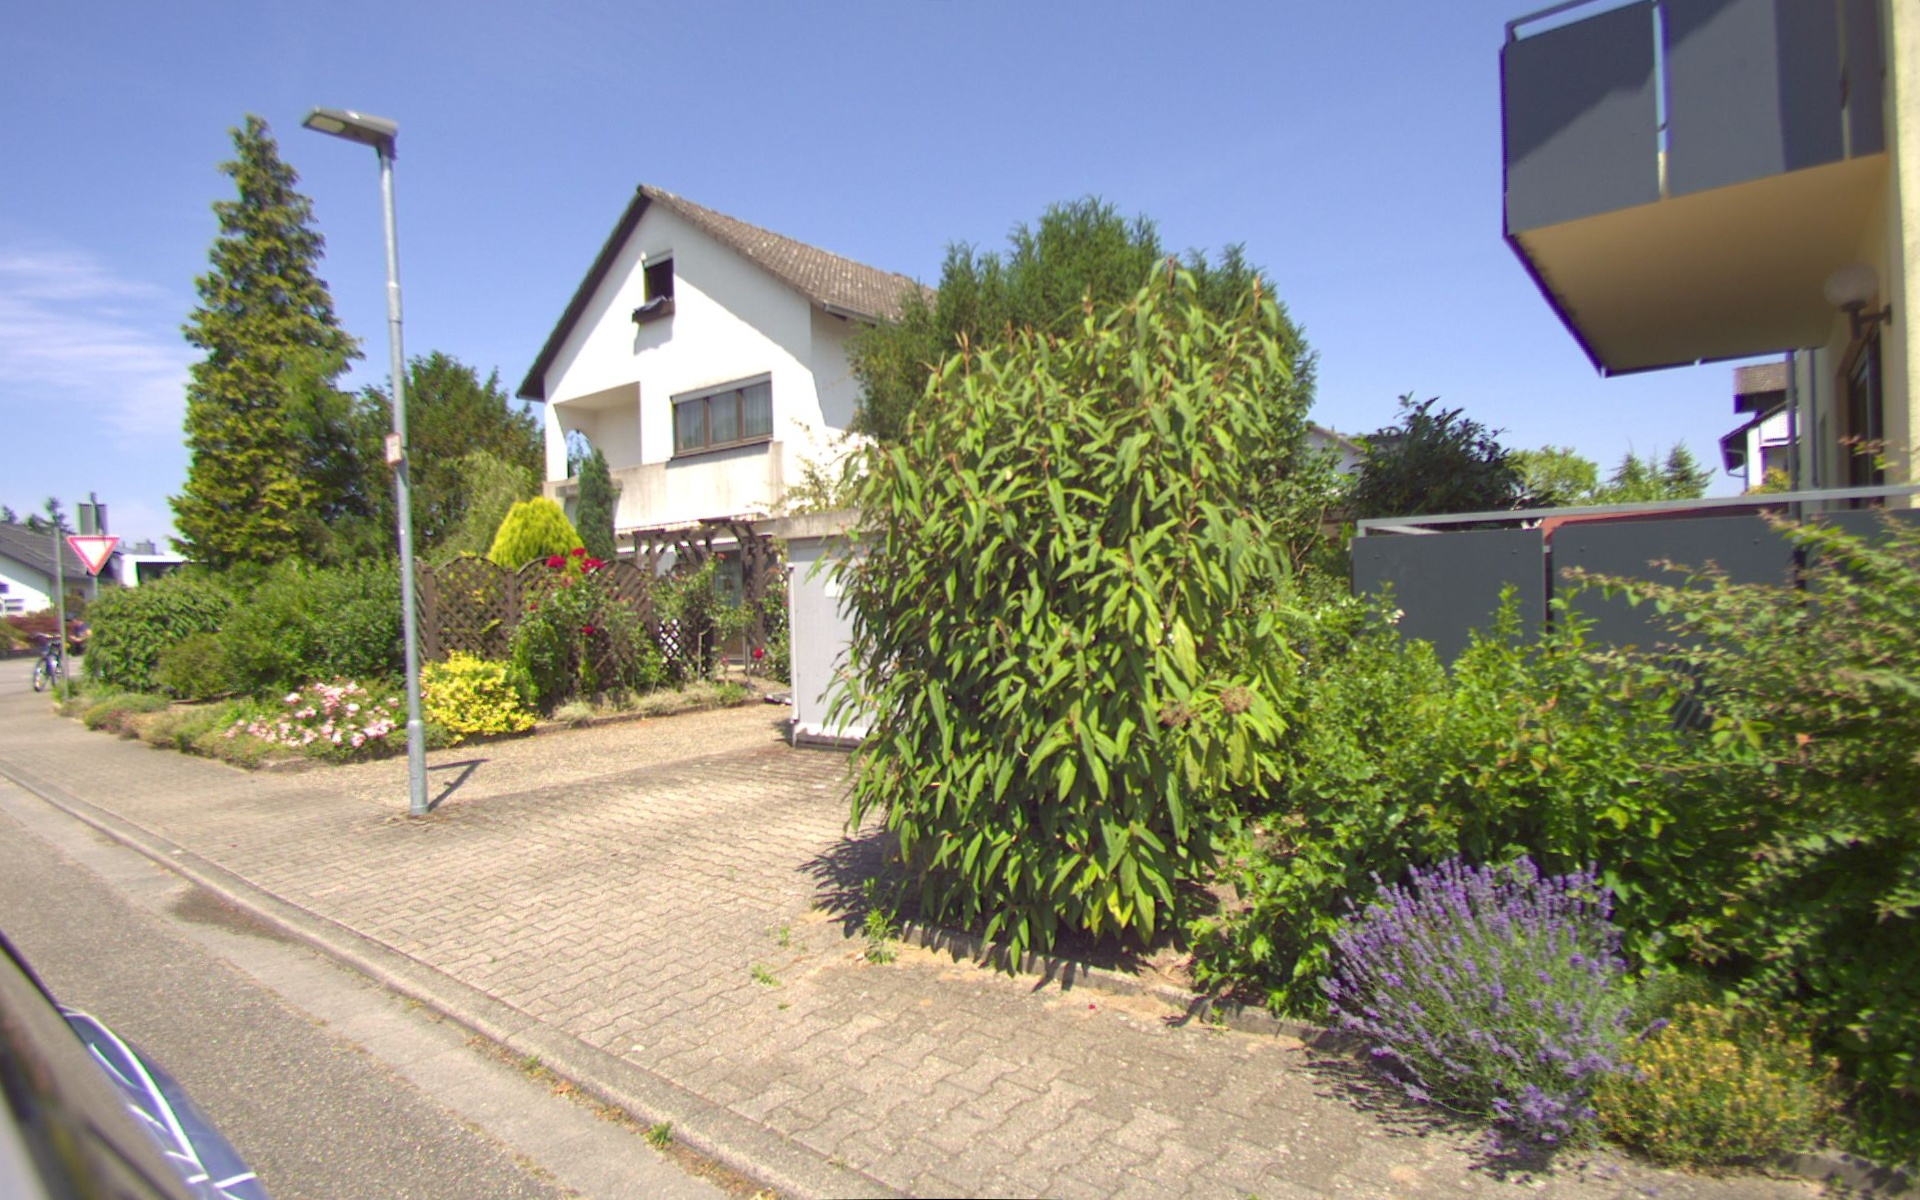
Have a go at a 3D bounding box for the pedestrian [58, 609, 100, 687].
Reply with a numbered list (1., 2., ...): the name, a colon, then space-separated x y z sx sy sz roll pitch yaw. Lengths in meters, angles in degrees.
1. pedestrian: -17.465 0.942 20.071 0.496 1.512 0.614 -1 0 -31

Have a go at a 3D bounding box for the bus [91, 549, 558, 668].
1. bus: -20.057 0.144 33.016 12.515 3.269 3.196 -2 0 -41

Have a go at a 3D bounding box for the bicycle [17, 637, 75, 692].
1. bicycle: -17.748 1.227 19.680 0.436 0.971 1.854 -1 0 -30
